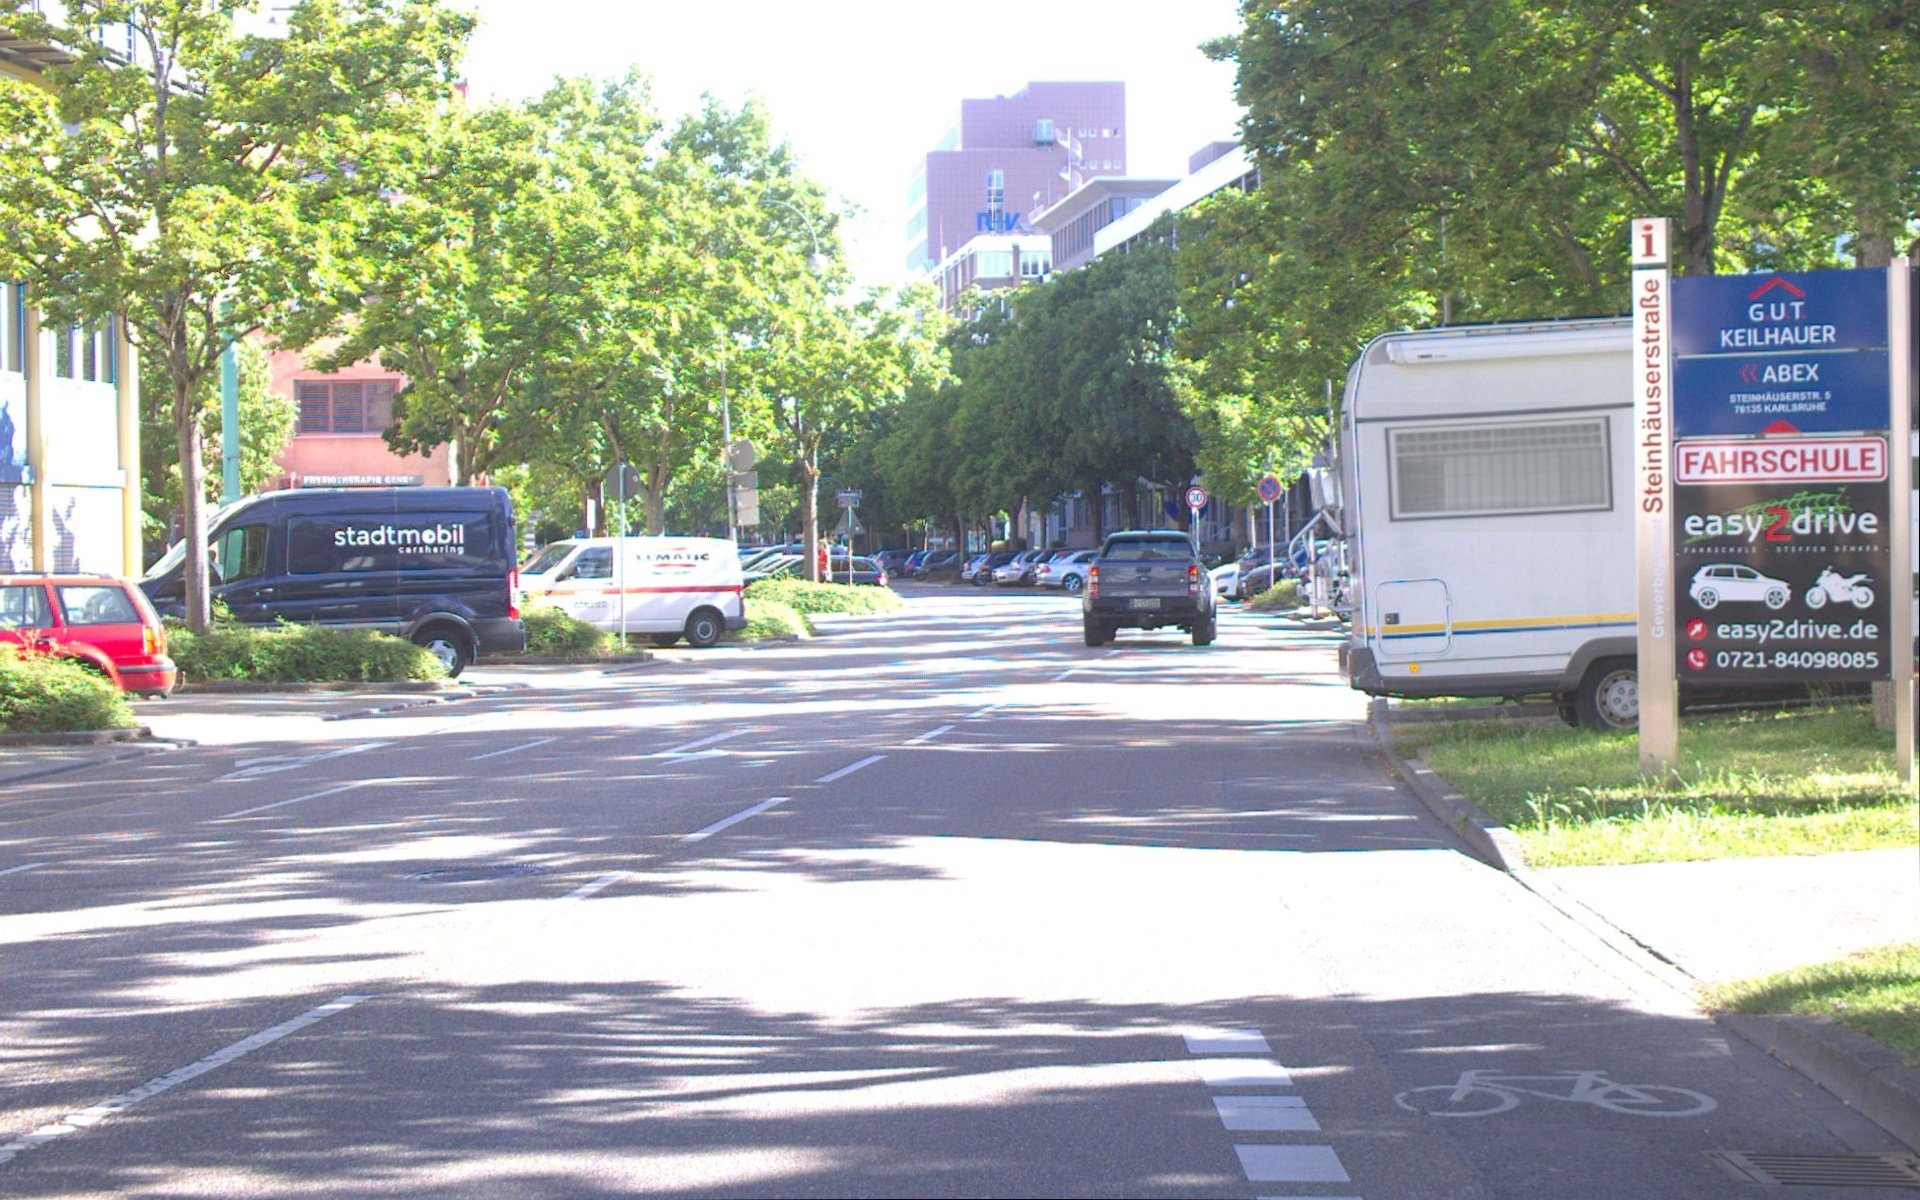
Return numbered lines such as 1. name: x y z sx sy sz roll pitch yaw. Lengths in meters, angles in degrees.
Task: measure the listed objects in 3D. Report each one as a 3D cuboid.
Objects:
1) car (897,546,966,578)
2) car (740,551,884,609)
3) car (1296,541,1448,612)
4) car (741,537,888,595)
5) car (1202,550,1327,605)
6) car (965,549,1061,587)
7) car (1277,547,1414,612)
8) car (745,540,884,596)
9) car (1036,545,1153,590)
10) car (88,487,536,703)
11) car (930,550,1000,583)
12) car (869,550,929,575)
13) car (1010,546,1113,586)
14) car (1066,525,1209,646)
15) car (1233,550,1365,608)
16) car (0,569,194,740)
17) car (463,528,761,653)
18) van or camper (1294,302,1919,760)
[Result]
1. car: -1.406 -1.867 168.807 3.278 1.392 1.516 -3 1 -3
2. car: -4.099 -0.556 95.281 3.883 1.361 1.410 -3 1 -3
3. car: 9.193 -0.533 76.930 3.244 1.392 1.516 -3 1 4
4. car: -3.972 -0.925 93.505 3.883 1.361 1.410 -3 1 -3
5. car: 8.150 -0.604 92.240 3.244 1.273 1.516 -3 1 4
6. car: 2.243 -1.360 146.617 3.946 1.392 1.516 -3 1 -3
7. car: 9.513 -0.513 84.929 3.244 1.392 1.516 -3 1 4
8. car: -4.188 -0.925 98.567 3.883 1.361 1.410 -3 1 -3
9. car: 4.789 -1.163 122.587 3.946 1.392 1.516 -3 1 -3
10. car: -8.191 -0.093 43.430 5.259 2.537 1.986 -2 1 -20
11. car: 0.231 -1.636 166.331 3.214 1.405 1.263 -3 1 -3
12. car: -3.418 -2.076 191.764 3.214 1.224 1.263 -3 1 -3
13. car: 4.063 -1.356 137.582 3.946 1.392 1.516 -3 1 -3
14. car: 2.940 -0.274 55.973 2.133 1.829 4.940 -1 1 5
15. car: 8.659 -0.546 87.983 3.244 1.273 1.516 -3 1 4
16. car: -9.675 0.538 32.769 4.406 1.547 1.922 -2 1 -19
17. car: -6.212 -0.181 61.496 4.883 2.076 1.986 -2 1 -29
18. van or camper: 5.562 -0.533 24.852 6.080 2.918 2.575 -3 0 5
